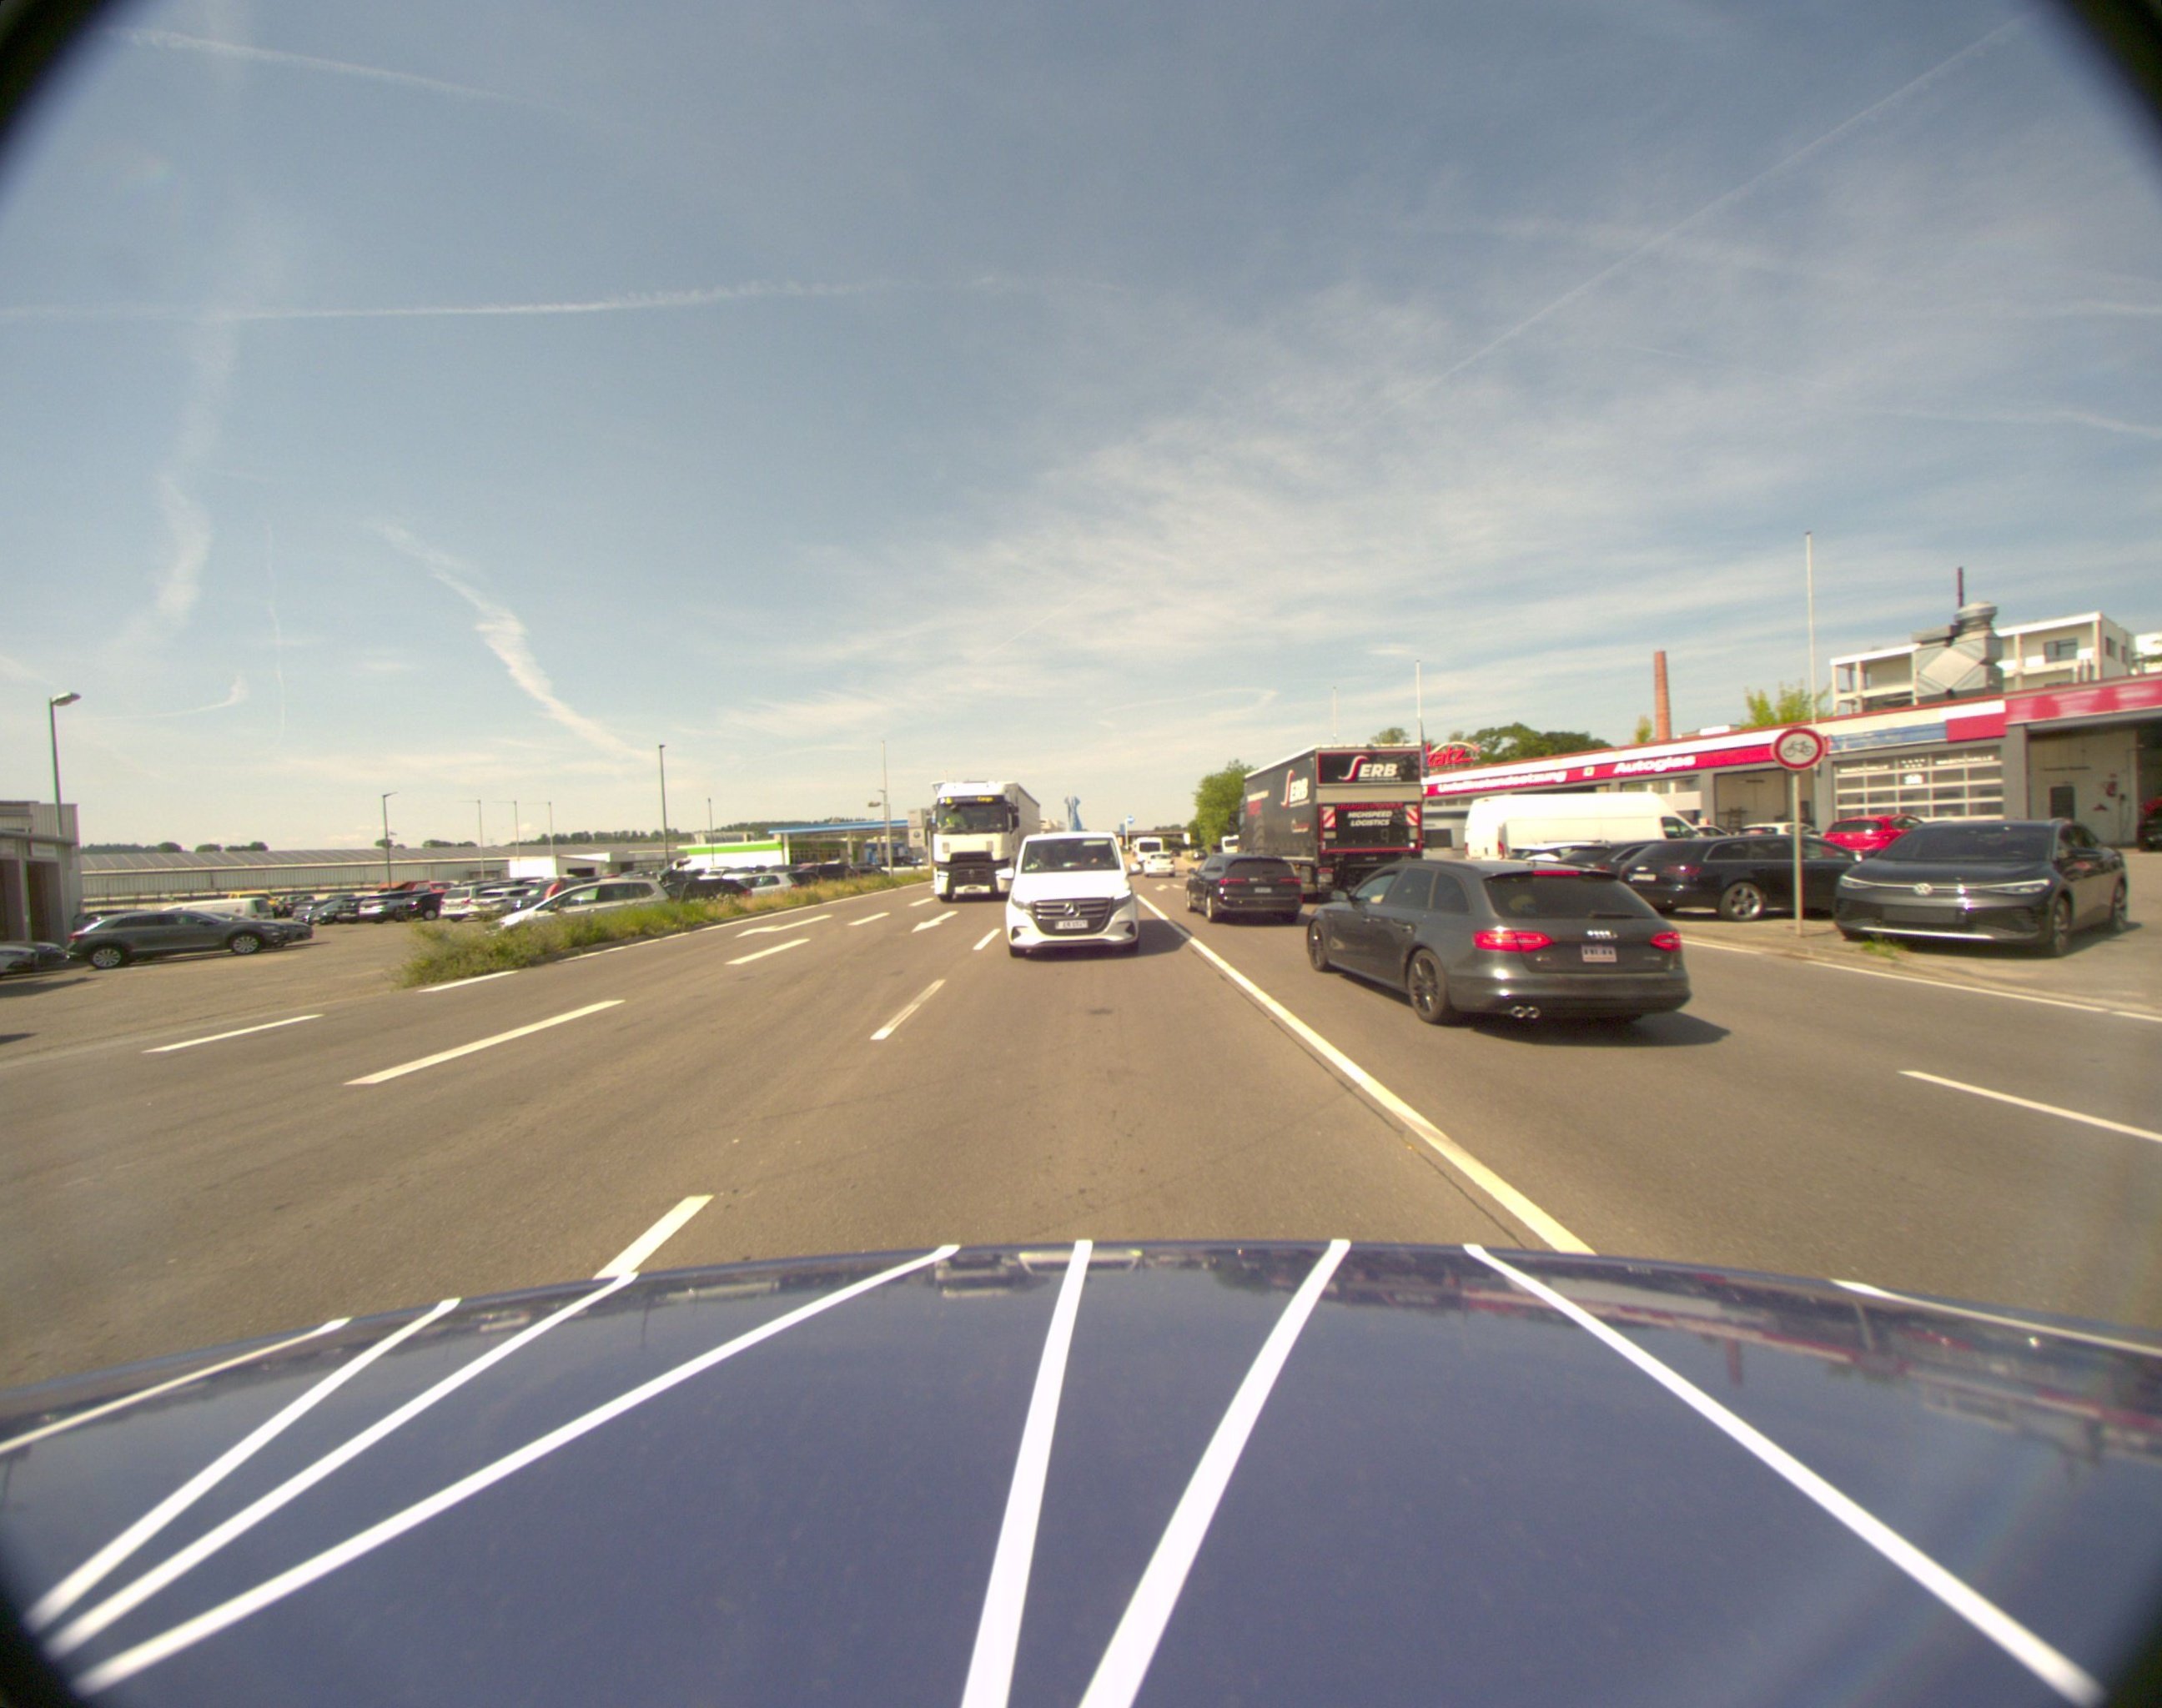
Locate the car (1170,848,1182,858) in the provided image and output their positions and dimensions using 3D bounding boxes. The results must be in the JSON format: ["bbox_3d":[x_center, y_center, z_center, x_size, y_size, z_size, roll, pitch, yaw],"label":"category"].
[{"bbox_3d":[15.704,-0.198,125.593,1.858,1.452,4.001,-2,1,7],"label":"car"}]

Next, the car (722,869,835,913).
[{"bbox_3d":[-12.456,1.463,31.356,4.007,1.543,1.771,-2,1,-35],"label":"car"}]

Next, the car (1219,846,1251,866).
[{"bbox_3d":[11.995,0.136,59.368,1.765,1.406,4.000,-5,0,3],"label":"car"}]

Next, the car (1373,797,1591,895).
[{"bbox_3d":[12.360,-0.241,23.745,5.579,2.757,2.177,-2,1,2],"label":"car"}]

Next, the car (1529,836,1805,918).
[{"bbox_3d":[12.443,0.456,16.353,4.378,1.521,2.029,-2,1,-1],"label":"car"}]

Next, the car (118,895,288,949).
[{"bbox_3d":[-38.847,2.959,33.784,4.544,1.937,1.772,-2,1,-28],"label":"car"}]

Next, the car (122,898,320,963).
[{"bbox_3d":[-28.230,2.461,25.178,4.084,1.645,1.771,-2,1,-41],"label":"car"}]

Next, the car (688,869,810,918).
[{"bbox_3d":[-12.416,1.436,28.449,4.005,1.549,1.709,-2,1,-27],"label":"car"}]

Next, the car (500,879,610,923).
[{"bbox_3d":[-23.830,2.074,34.672,1.969,1.645,4.536,-2,1,-3],"label":"car"}]

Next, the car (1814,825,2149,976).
[{"bbox_3d":[12.204,0.493,10.283,4.189,1.613,2.026,-2,1,-27],"label":"car"}]

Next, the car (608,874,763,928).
[{"bbox_3d":[-12.969,1.484,25.006,4.350,1.444,1.772,-2,1,-32],"label":"car"}]

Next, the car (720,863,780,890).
[{"bbox_3d":[-23.321,1.546,53.714,1.774,1.645,4.539,-2,1,6],"label":"car"}]

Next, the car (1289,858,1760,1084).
[{"bbox_3d":[3.717,0.818,7.554,1.866,1.515,4.587,-1,0,-2],"label":"car"}]

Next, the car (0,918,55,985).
[{"bbox_3d":[-30.258,2.689,19.421,1.771,1.645,4.559,-1,1,44],"label":"car"}]

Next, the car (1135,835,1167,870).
[{"bbox_3d":[5.387,-0.140,59.149,2.063,2.495,7.115,-2,1,3],"label":"car"}]

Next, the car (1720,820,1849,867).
[{"bbox_3d":[25.283,-0.390,27.318,3.948,1.511,1.880,-3,1,-22],"label":"car"}]

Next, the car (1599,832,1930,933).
[{"bbox_3d":[11.912,0.461,13.487,4.044,1.521,2.031,-2,1,0],"label":"car"}]

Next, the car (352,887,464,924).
[{"bbox_3d":[-36.606,2.746,41.528,1.774,1.645,4.539,-2,1,5],"label":"car"}]

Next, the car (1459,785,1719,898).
[{"bbox_3d":[14.009,-0.315,21.248,5.722,2.822,2.116,-2,0,2],"label":"car"}]

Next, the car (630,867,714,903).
[{"bbox_3d":[-21.690,1.609,40.535,1.774,1.645,4.539,-2,1,4],"label":"car"}]

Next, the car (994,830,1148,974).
[{"bbox_3d":[-0.111,0.622,13.028,1.993,1.858,5.803,-2,1,0],"label":"car"}]

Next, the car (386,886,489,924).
[{"bbox_3d":[-34.248,2.681,40.621,1.775,1.645,4.536,-2,1,-3],"label":"car"}]

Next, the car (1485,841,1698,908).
[{"bbox_3d":[12.574,0.482,18.909,3.996,1.461,1.881,-2,1,2],"label":"car"}]

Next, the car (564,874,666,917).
[{"bbox_3d":[-21.245,1.835,34.880,1.908,1.645,4.708,-2,1,-3],"label":"car"}]

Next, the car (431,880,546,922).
[{"bbox_3d":[-29.284,2.276,37.778,1.821,1.719,4.539,-2,1,6],"label":"car"}]

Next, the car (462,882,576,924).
[{"bbox_3d":[-26.777,2.287,36.429,1.774,1.645,4.539,-2,1,6],"label":"car"}]

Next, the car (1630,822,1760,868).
[{"bbox_3d":[24.193,-0.349,29.964,4.002,1.597,1.986,-2,1,-15],"label":"car"}]

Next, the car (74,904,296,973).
[{"bbox_3d":[-26.710,2.448,22.904,4.084,1.599,1.689,-2,-1,-42],"label":"car"}]

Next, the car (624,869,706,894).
[{"bbox_3d":[-27.521,1.825,50.296,4.530,1.450,1.951,-2,1,12],"label":"car"}]

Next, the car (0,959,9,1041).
[{"bbox_3d":[-14.976,1.807,8.368,1.778,1.645,4.068,-5,2,-25],"label":"car"}]

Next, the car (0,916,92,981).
[{"bbox_3d":[-31.527,2.782,21.428,1.771,1.645,4.179,-1,1,44],"label":"car"}]

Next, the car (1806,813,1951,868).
[{"bbox_3d":[26.233,-0.451,25.011,4.004,1.608,1.914,-3,1,-22],"label":"car"}]
